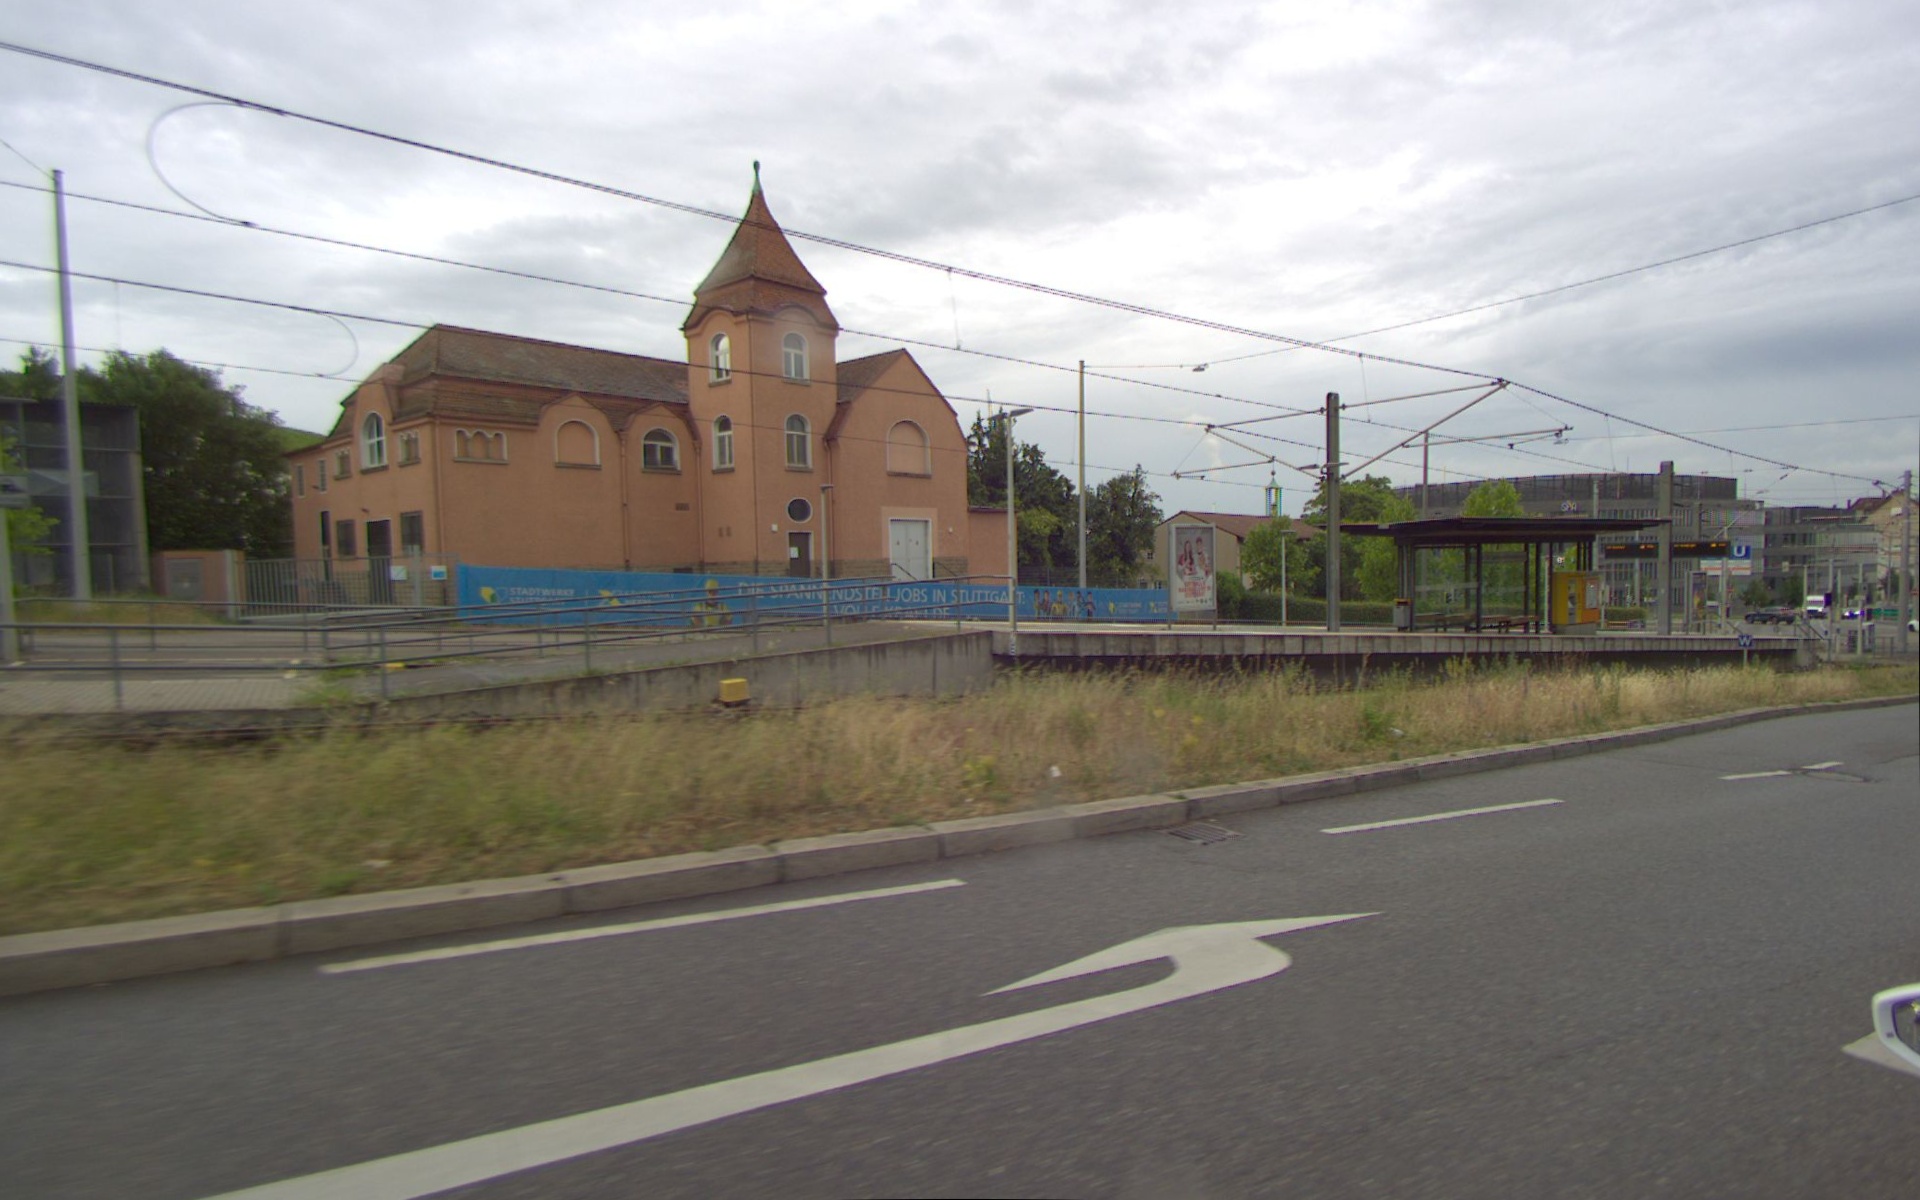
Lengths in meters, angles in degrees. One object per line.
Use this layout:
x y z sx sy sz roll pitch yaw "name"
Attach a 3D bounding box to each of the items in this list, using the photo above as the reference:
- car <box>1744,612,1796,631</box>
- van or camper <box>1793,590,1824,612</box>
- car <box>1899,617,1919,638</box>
81.390 2.160 101.028 1.961 1.728 3.999 1 0 -1 "car"
95.803 0.130 113.420 3.965 2.376 1.978 1 -2 -39 "van or camper"
81.518 2.360 84.313 1.791 1.628 4.001 2 3 6 "car"
